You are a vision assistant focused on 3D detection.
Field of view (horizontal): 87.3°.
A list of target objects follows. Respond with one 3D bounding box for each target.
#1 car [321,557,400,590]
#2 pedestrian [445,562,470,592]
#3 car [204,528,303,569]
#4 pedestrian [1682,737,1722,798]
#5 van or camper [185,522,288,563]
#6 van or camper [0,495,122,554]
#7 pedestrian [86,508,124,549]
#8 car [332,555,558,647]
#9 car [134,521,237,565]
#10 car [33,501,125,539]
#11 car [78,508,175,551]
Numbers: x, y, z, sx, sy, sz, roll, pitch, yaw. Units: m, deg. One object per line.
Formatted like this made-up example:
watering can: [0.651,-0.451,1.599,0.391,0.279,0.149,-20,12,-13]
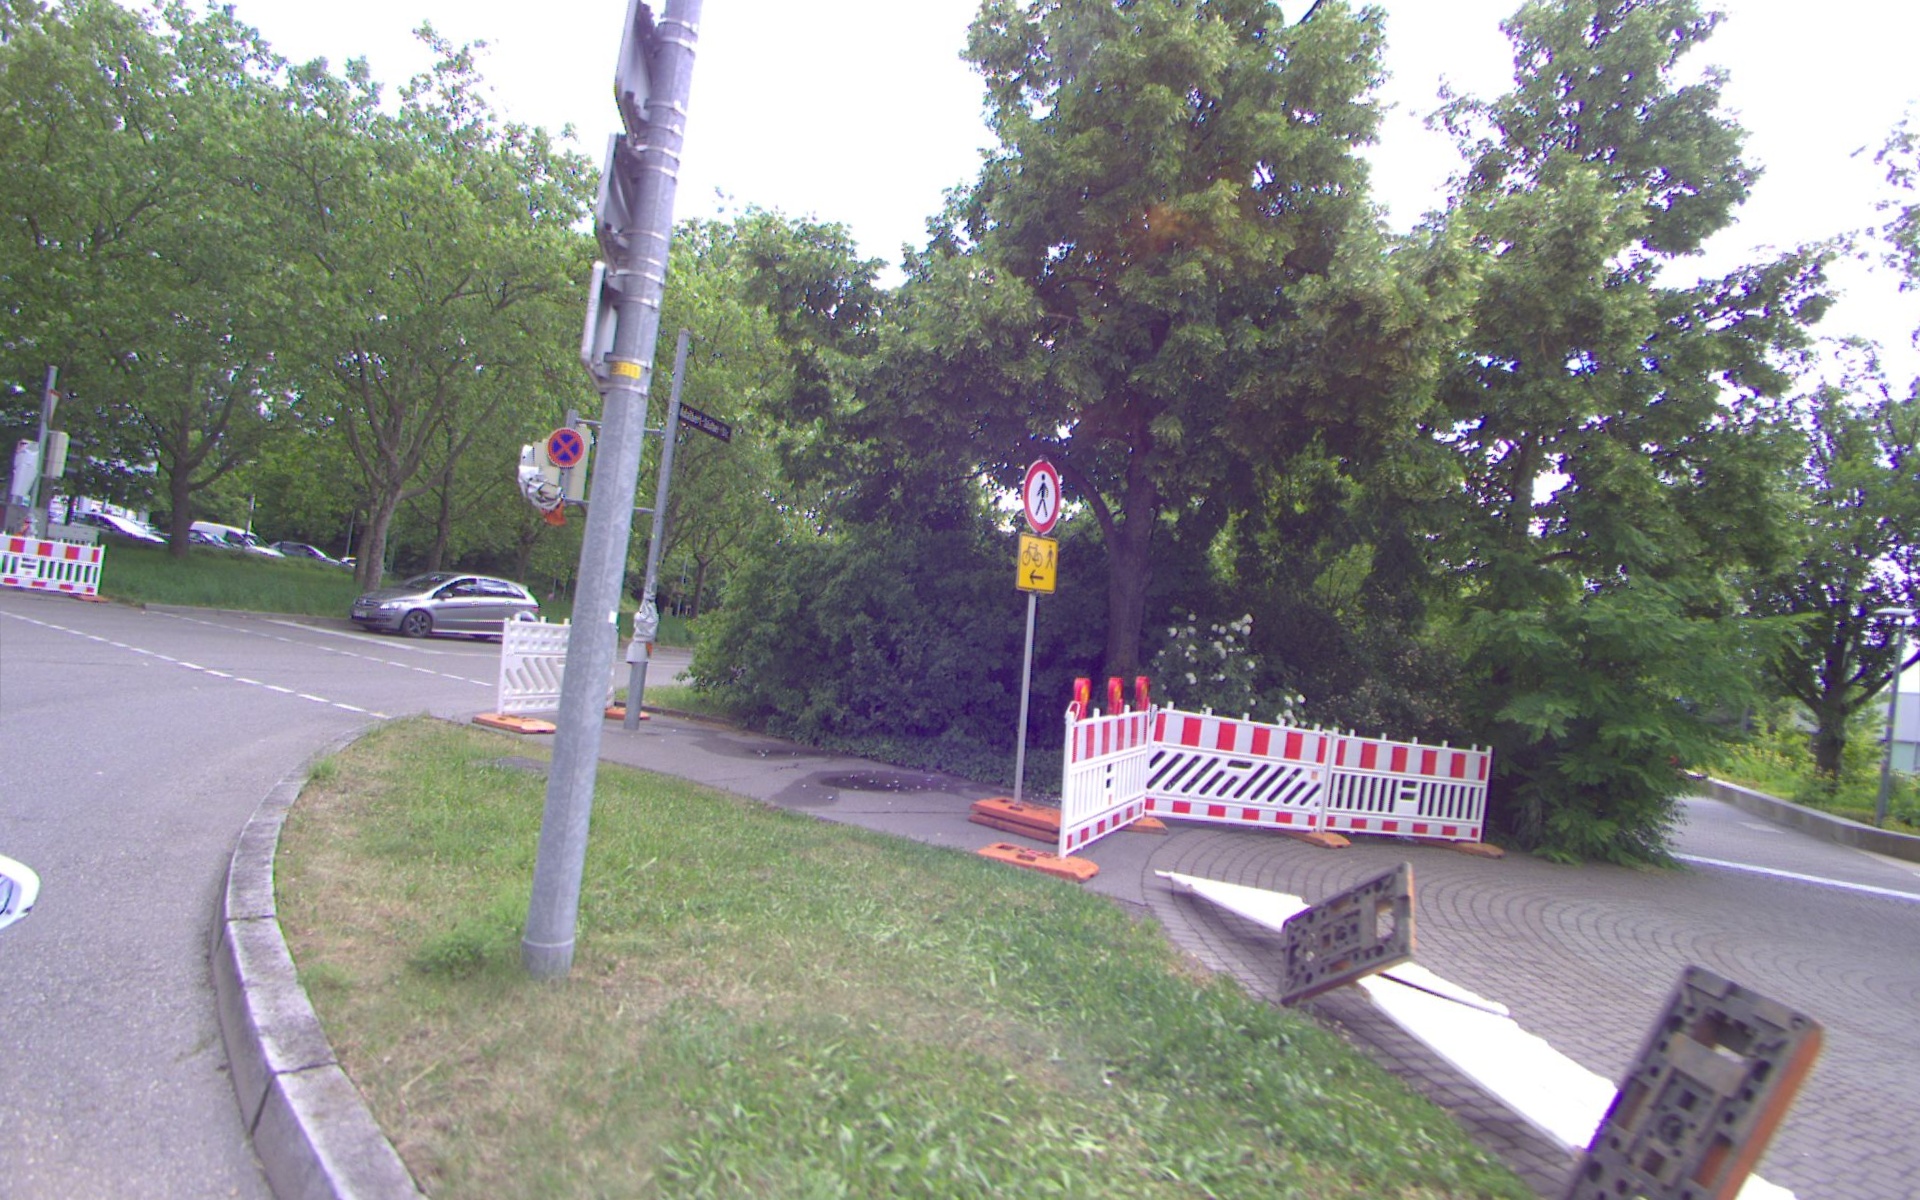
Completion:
car: [-37.011,-1.621,62.162,3.674,1.517,1.736,7,-2,3]
pedestrian: [-36.376,-1.641,72.838,0.969,1.971,1.085,8,-3,-6]
car: [-36.050,-2.625,51.393,3.820,1.482,1.486,7,-2,-1]
pedestrian: [20.205,4.556,27.393,0.624,1.519,0.704,6,-1,27]
van or camper: [-35.017,-2.755,48.753,3.707,1.372,1.519,7,-2,-3]
van or camper: [-35.286,-2.945,39.016,3.925,1.704,1.847,7,-1,2]
pedestrian: [-36.304,-3.030,42.713,0.785,1.604,0.796,6,-2,21]
car: [-12.009,0.099,23.778,1.743,1.604,4.407,5,-3,31]
car: [-34.974,-2.563,45.471,3.345,1.420,1.486,7,-2,0]
car: [-45.918,-4.164,52.472,3.346,1.420,1.486,7,-2,-1]
car: [-46.045,-3.889,55.601,3.752,1.653,1.674,8,-2,-1]
